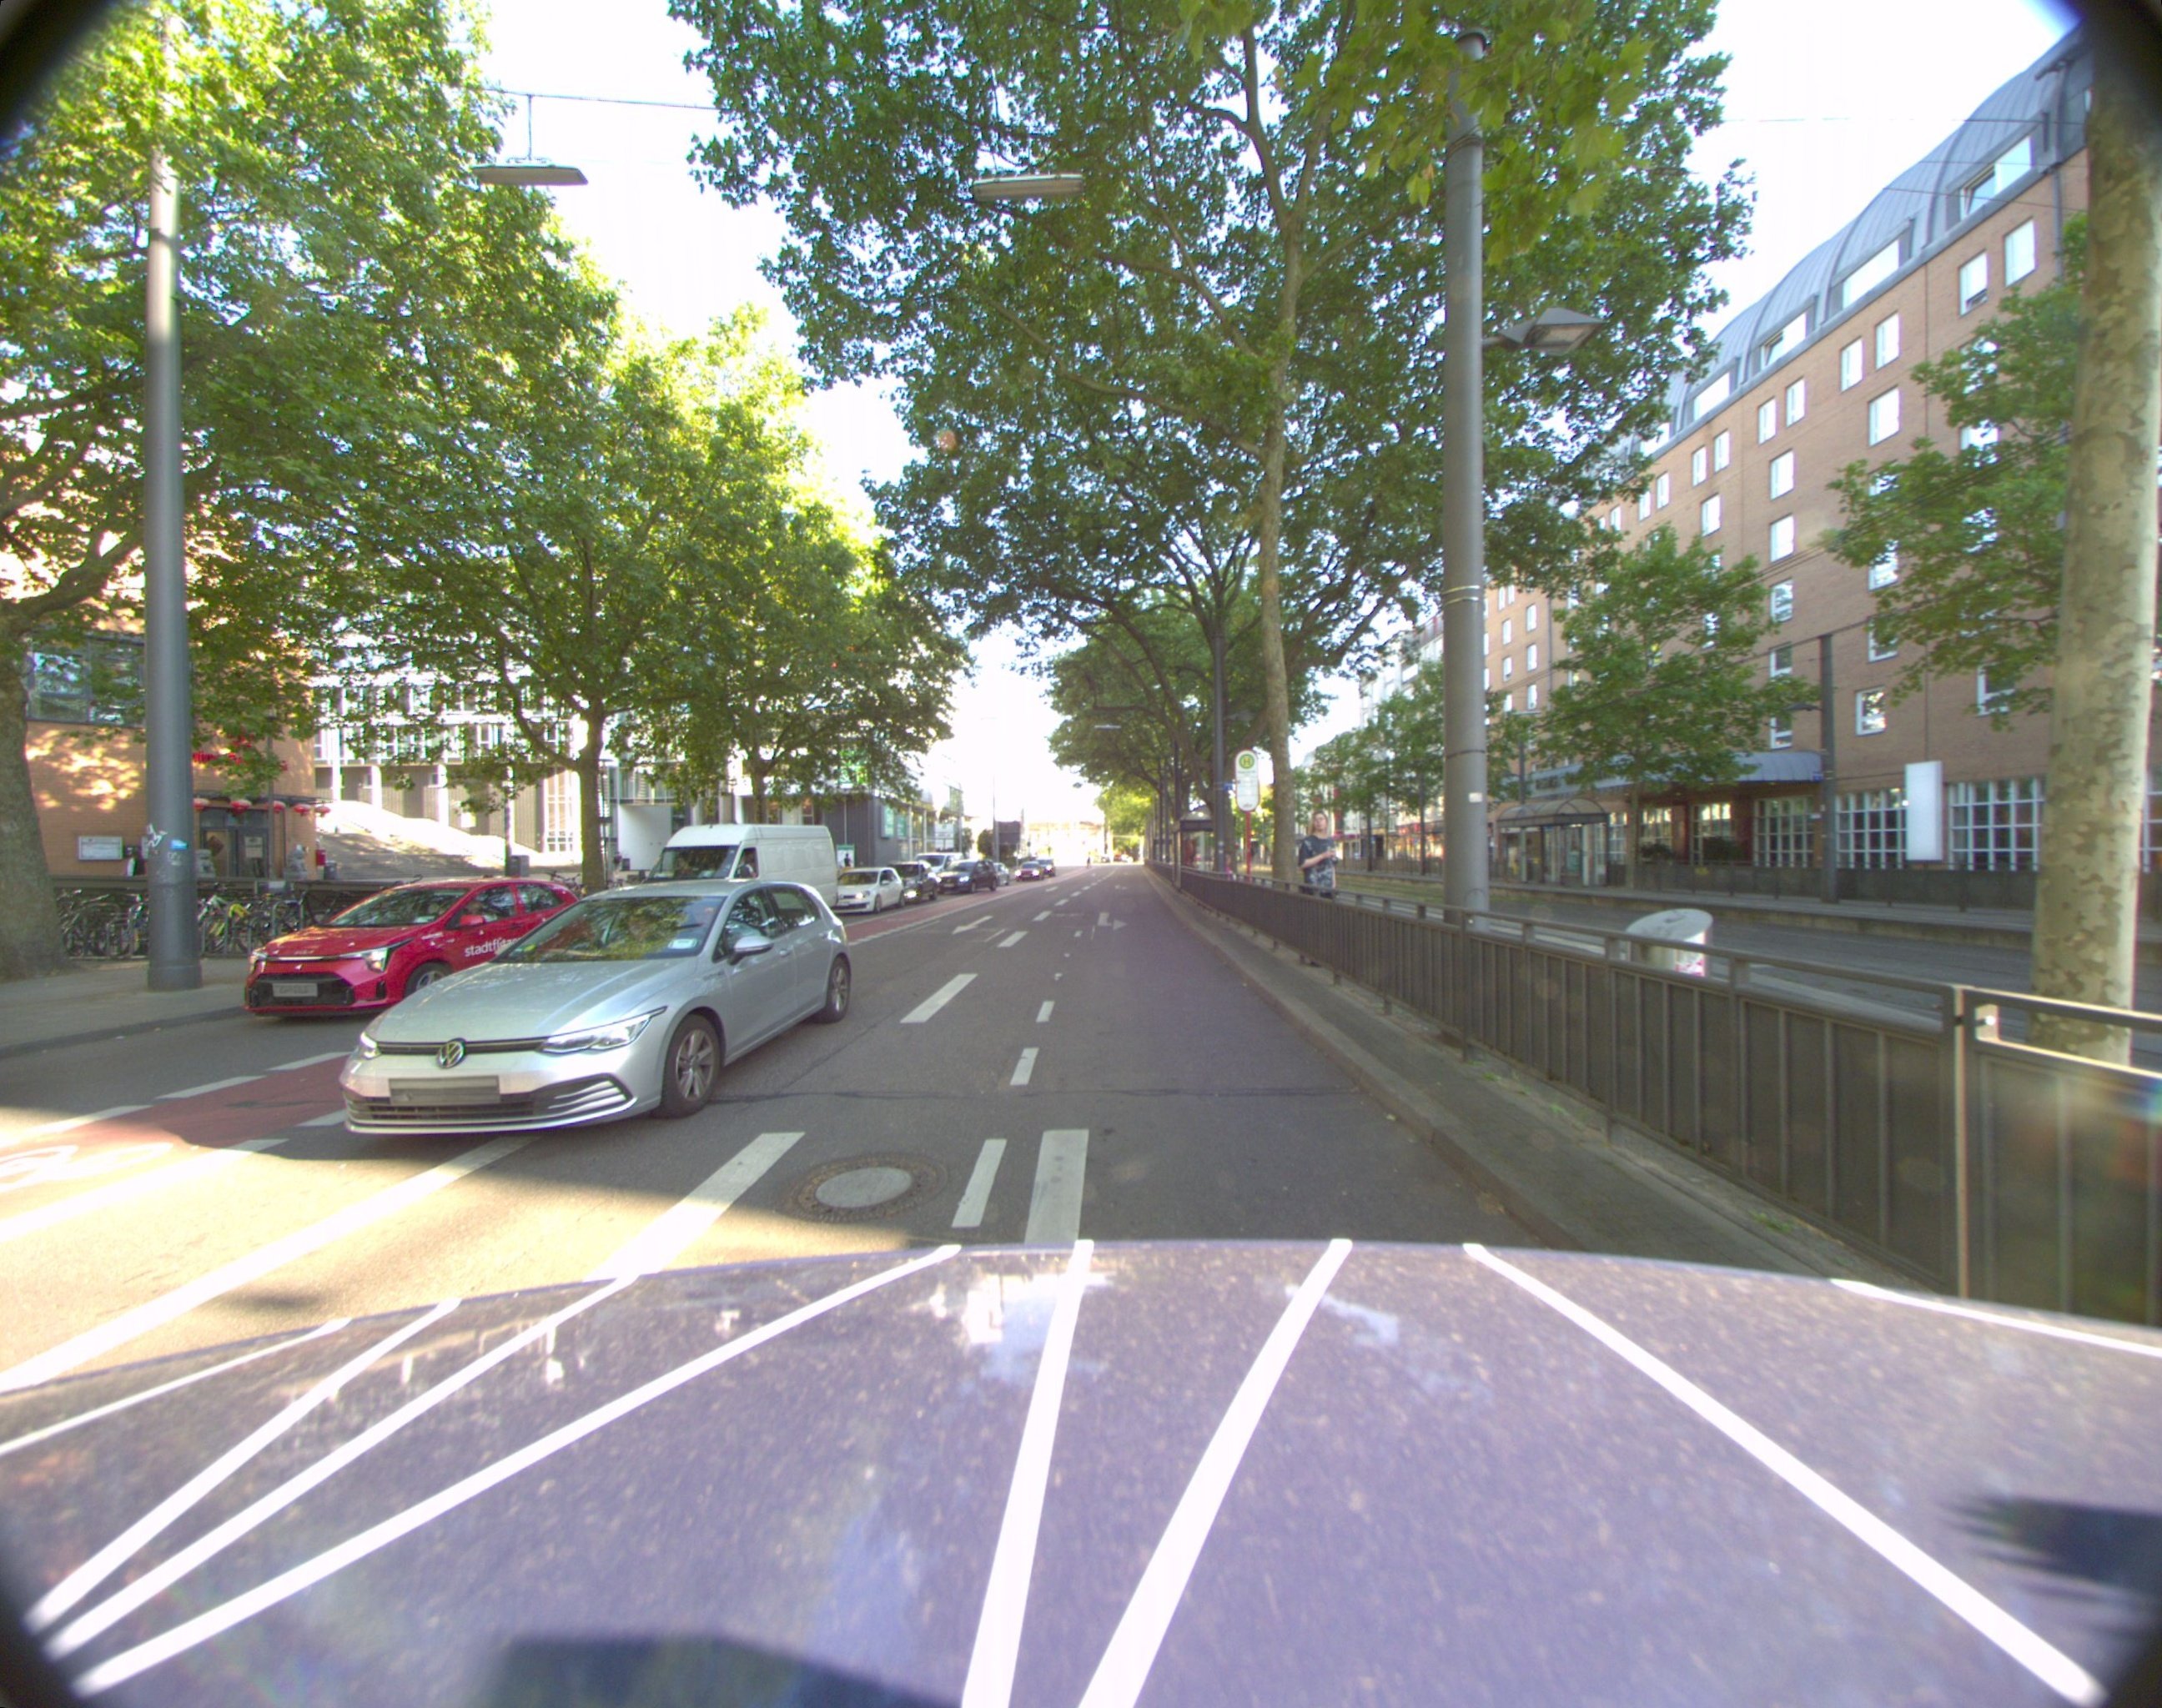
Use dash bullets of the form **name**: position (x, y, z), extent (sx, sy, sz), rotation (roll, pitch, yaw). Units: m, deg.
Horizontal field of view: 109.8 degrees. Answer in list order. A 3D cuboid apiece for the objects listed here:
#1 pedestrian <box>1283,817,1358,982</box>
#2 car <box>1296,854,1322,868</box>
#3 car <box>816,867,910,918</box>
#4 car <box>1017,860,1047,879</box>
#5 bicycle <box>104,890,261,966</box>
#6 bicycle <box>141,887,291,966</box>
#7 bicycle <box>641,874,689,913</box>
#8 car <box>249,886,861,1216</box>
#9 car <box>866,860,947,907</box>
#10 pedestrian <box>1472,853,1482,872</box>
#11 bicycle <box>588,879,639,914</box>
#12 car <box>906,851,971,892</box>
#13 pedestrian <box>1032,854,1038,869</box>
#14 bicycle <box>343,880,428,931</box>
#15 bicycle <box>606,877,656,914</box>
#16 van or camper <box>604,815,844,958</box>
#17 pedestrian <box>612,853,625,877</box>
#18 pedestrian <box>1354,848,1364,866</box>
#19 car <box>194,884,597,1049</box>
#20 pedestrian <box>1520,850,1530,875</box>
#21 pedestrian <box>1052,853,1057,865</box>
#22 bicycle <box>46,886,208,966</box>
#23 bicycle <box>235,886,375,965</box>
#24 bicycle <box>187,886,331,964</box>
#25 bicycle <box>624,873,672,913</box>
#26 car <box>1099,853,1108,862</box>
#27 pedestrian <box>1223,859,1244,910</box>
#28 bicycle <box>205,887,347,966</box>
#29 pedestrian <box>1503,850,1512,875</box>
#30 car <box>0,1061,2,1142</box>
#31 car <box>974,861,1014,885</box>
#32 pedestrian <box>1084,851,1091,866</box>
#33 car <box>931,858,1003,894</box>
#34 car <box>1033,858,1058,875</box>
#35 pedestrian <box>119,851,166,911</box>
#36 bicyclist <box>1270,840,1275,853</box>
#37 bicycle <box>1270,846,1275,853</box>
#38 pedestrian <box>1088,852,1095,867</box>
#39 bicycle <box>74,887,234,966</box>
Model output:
- **pedestrian**: position (2.849, 0.510, 9.033), extent (0.621, 1.873, 0.607), rotation (1, 4, 45)
- **car**: position (25.287, 0.756, 84.411), extent (1.760, 1.479, 4.309), rotation (-1, 0, 2)
- **car**: position (-7.013, 1.195, 24.842), extent (1.682, 1.420, 4.001), rotation (-1, 0, 3)
- **car**: position (-3.682, 1.160, 57.839), extent (1.801, 1.369, 4.001), rotation (0, 0, 3)
- **bicycle**: position (-15.428, 1.237, 13.130), extent (0.485, 1.118, 1.850), rotation (0, 0, 1)
- **bicycle**: position (-14.845, 1.200, 13.122), extent (0.447, 1.187, 1.850), rotation (0, 0, 1)
- **bicycle**: position (-13.574, 1.269, 24.838), extent (0.522, 1.187, 1.850), rotation (0, 0, 1)
- **car**: position (-3.227, 1.079, 5.811), extent (1.733, 1.432, 4.000), rotation (-2, 0, 2)
- **car**: position (-6.704, 1.086, 29.712), extent (1.818, 1.610, 4.229), rotation (-1, 0, 5)
- **pedestrian**: position (30.976, 0.647, 59.398), extent (0.519, 1.427, 0.516), rotation (0, 1, 4)
- **bicycle**: position (-15.222, 1.366, 24.791), extent (0.516, 1.027, 1.850), rotation (0, 0, 1)
- **car**: position (-7.470, 0.864, 40.447), extent (1.965, 1.983, 4.960), rotation (-1, 0, 7)
- **pedestrian**: position (-5.259, 0.841, 86.263), extent (0.648, 1.644, 0.643), rotation (-1, 1, 1)
- **bicycle**: position (-17.871, 1.287, 19.589), extent (0.517, 1.187, 1.790), rotation (0, 0, 1)
- **bicycle**: position (-14.661, 1.326, 24.815), extent (0.522, 1.088, 1.797), rotation (0, 0, 1)
- **van or camper**: position (-7.545, 0.591, 17.150), extent (1.998, 2.563, 6.575), rotation (-2, 0, 3)
- **pedestrian**: position (-30.883, 0.721, 50.733), extent (0.719, 1.549, 0.639), rotation (-1, 1, -35)
- **pedestrian**: position (31.051, 0.302, 84.980), extent (0.806, 2.002, 0.763), rotation (-1, 1, 1)
- **car**: position (-7.953, 1.190, 9.351), extent (1.606, 1.449, 3.651), rotation (-1, 0, 0)
- **pedestrian**: position (27.445, 0.534, 46.988), extent (0.438, 1.511, 0.659), rotation (0, 1, 23)
- **pedestrian**: position (-3.728, 0.666, 105.771), extent (0.611, 1.644, 0.583), rotation (-1, 1, 1)
- **bicycle**: position (-16.389, 1.198, 13.135), extent (0.435, 1.187, 1.850), rotation (0, 0, 1)
- **bicycle**: position (-13.320, 1.194, 13.125), extent (0.482, 1.187, 1.850), rotation (0, 0, 1)
- **bicycle**: position (-14.328, 1.201, 13.322), extent (0.484, 1.187, 1.850), rotation (0, 0, 1)
- **bicycle**: position (-14.117, 1.256, 24.817), extent (0.495, 1.187, 1.850), rotation (0, 0, 1)
- **car**: position (5.097, 0.834, 171.358), extent (1.998, 2.002, 4.001), rotation (-1, 0, 5)
- **pedestrian**: position (3.930, 0.780, 19.619), extent (0.500, 1.308, 0.419), rotation (0, 1, 8)
- **bicycle**: position (-13.823, 1.205, 13.131), extent (0.448, 1.187, 1.850), rotation (0, 0, 1)
- **pedestrian**: position (26.518, 0.515, 47.214), extent (0.438, 1.497, 0.659), rotation (0, 1, 23)
- **car**: position (-8.008, 1.169, 2.877), extent (1.743, 1.476, 4.251), rotation (-1, 0, 0)
- **car**: position (-5.492, 1.169, 48.376), extent (1.801, 1.369, 4.001), rotation (0, 0, 3)
- **pedestrian**: position (0.884, 0.623, 104.239), extent (0.772, 2.002, 0.830), rotation (-2, 1, 5)
- **car**: position (-5.477, 1.016, 37.111), extent (1.964, 1.610, 4.335), rotation (-1, 0, 14)
- **car**: position (-3.055, 1.049, 66.534), extent (1.801, 1.438, 4.001), rotation (0, 0, 3)
- **pedestrian**: position (-32.109, 0.902, 25.994), extent (0.875, 2.025, 0.586), rotation (0, 1, 6)
- **bicyclist**: position (28.388, -1.048, 112.633), extent (0.572, 1.893, 0.813), rotation (0, 1, 6)
- **bicycle**: position (28.489, -0.638, 112.806), extent (0.451, 0.998, 1.753), rotation (-1, 0, 5)
- **pedestrian**: position (1.447, 0.785, 102.178), extent (0.772, 2.002, 0.830), rotation (-2, 1, 4)
- **bicycle**: position (-15.926, 1.204, 13.132), extent (0.458, 1.187, 1.850), rotation (0, 0, 1)
